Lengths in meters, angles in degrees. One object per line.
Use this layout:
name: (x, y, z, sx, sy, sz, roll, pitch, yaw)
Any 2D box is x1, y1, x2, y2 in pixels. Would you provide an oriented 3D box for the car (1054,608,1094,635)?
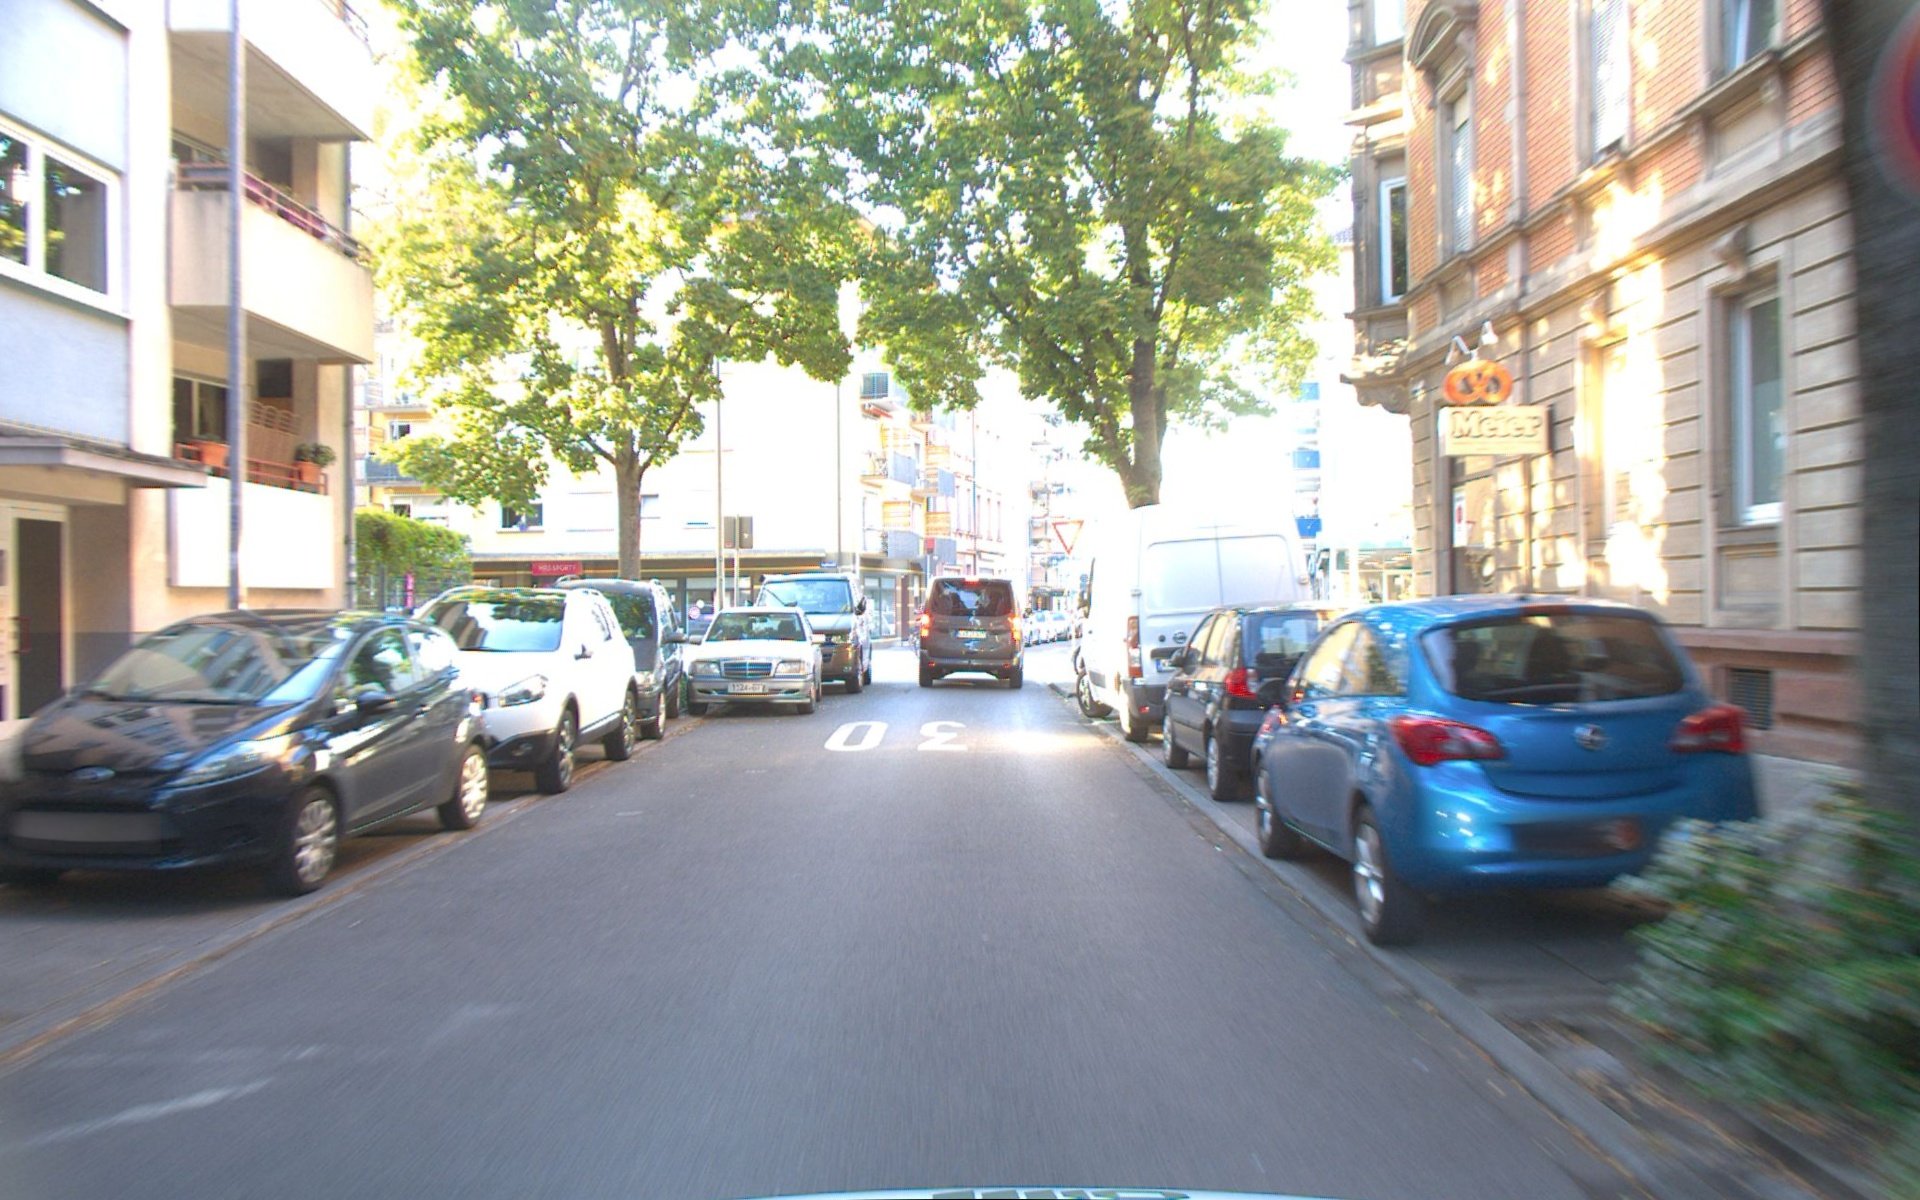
car: (6.362, 1.163, 91.822, 1.757, 1.445, 3.751, 0, 0, 11)

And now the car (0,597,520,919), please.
car: (-4.107, 0.759, 9.900, 1.703, 1.510, 3.840, 1, 0, 3)

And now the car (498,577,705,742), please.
car: (-4.130, 0.644, 19.560, 1.706, 1.742, 3.374, 1, 0, -1)

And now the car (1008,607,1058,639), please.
car: (3.424, 1.058, 76.876, 1.757, 1.445, 3.751, 0, 0, 11)

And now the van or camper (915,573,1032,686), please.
van or camper: (0.278, 0.500, 30.367, 1.993, 1.931, 4.271, 0, 0, 1)

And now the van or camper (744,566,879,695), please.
van or camper: (-2.467, 0.487, 28.409, 1.824, 2.018, 4.271, -1, 0, 1)

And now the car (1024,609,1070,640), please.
car: (4.337, 1.189, 81.593, 1.757, 1.445, 3.751, 0, 0, 11)

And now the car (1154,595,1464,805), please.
car: (2.725, 0.718, 13.749, 1.715, 1.497, 3.775, 0, 0, -1)

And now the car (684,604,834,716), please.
car: (-2.753, 0.791, 23.301, 1.706, 1.429, 3.374, -1, 0, -1)

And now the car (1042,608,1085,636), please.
car: (5.450, 1.149, 86.913, 1.757, 1.445, 3.751, 0, 0, 11)

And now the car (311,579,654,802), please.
car: (-4.034, 0.696, 14.736, 1.858, 1.665, 4.155, 1, 0, -1)

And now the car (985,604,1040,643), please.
car: (2.285, 0.998, 71.248, 1.757, 1.606, 3.751, 0, 0, 11)

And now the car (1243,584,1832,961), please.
car: (2.628, 0.690, 8.493, 1.714, 1.497, 3.775, 0, 0, 0)

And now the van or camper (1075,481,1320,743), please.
van or camper: (2.599, 0.124, 19.476, 1.953, 2.644, 5.422, 0, 0, -2)
